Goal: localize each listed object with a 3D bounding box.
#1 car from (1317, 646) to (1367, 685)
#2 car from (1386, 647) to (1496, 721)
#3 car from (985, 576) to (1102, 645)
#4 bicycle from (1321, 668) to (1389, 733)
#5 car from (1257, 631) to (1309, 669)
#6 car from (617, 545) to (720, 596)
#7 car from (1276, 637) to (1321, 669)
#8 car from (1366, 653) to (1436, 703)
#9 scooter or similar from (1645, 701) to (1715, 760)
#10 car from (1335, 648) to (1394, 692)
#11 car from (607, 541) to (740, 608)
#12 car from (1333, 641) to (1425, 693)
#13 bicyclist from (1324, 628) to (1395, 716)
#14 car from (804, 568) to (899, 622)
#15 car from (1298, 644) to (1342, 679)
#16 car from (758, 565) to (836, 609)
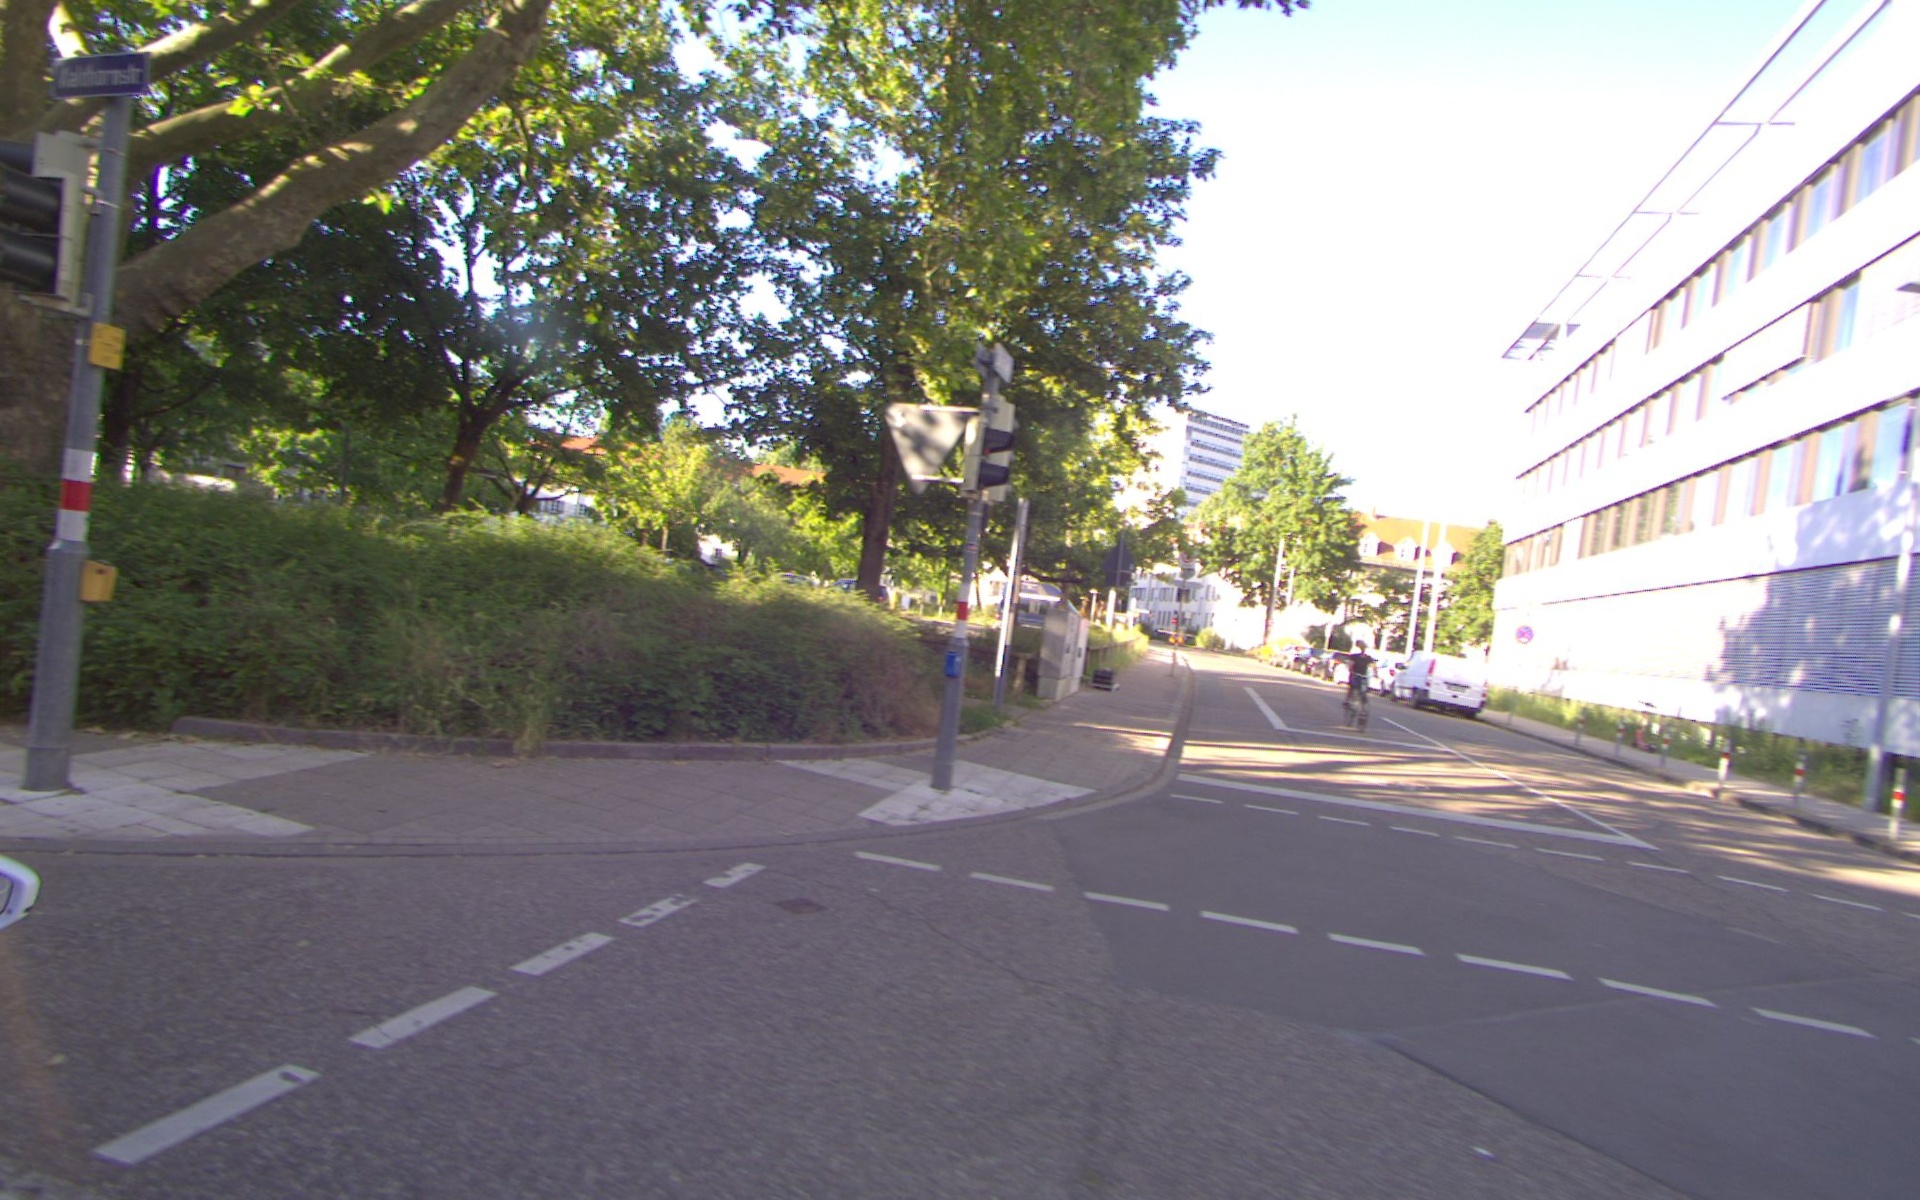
[{"bbox_3d":[18.182,3.100,48.006,1.599,1.503,3.851,8,1,14],"label":"car"},{"bbox_3d":[15.486,2.628,32.677,2.069,1.851,4.721,8,1,14],"label":"car"},{"bbox_3d":[4.056,0.496,48.488,5.061,2.605,2.000,8,1,14],"label":"car"},{"bbox_3d":[7.644,1.923,19.561,0.705,1.030,2.025,7,0,9],"label":"bicycle"},{"bbox_3d":[20.521,3.141,64.100,2.051,1.810,4.910,7,2,6],"label":"car"},{"bbox_3d":[-13.217,-1.331,45.683,3.924,1.645,1.926,8,-1,16],"label":"car"},{"bbox_3d":[19.692,3.069,58.680,1.599,1.509,3.603,8,1,7],"label":"car"},{"bbox_3d":[16.828,2.945,38.535,1.599,1.503,3.851,8,1,14],"label":"car"},{"bbox_3d":[17.573,3.173,24.588,0.686,1.194,1.558,8,1,12],"label":"scooter or similar"},{"bbox_3d":[17.349,2.968,43.283,1.599,1.503,3.851,8,1,14],"label":"car"},{"bbox_3d":[-10.562,-0.923,37.145,4.230,1.834,1.788,8,1,14],"label":"car"},{"bbox_3d":[28.337,4.509,68.183,5.024,2.653,1.998,9,3,2],"label":"car"},{"bbox_3d":[7.703,1.367,19.469,0.861,1.555,1.088,8,1,9],"label":"bicyclist"},{"bbox_3d":[-5.489,-0.239,51.107,4.230,2.114,1.788,8,1,14],"label":"car"},{"bbox_3d":[19.089,3.223,53.459,1.599,1.503,3.851,8,1,14],"label":"car"},{"bbox_3d":[-9.758,-0.743,60.204,3.969,1.970,1.926,8,0,15],"label":"car"}]
